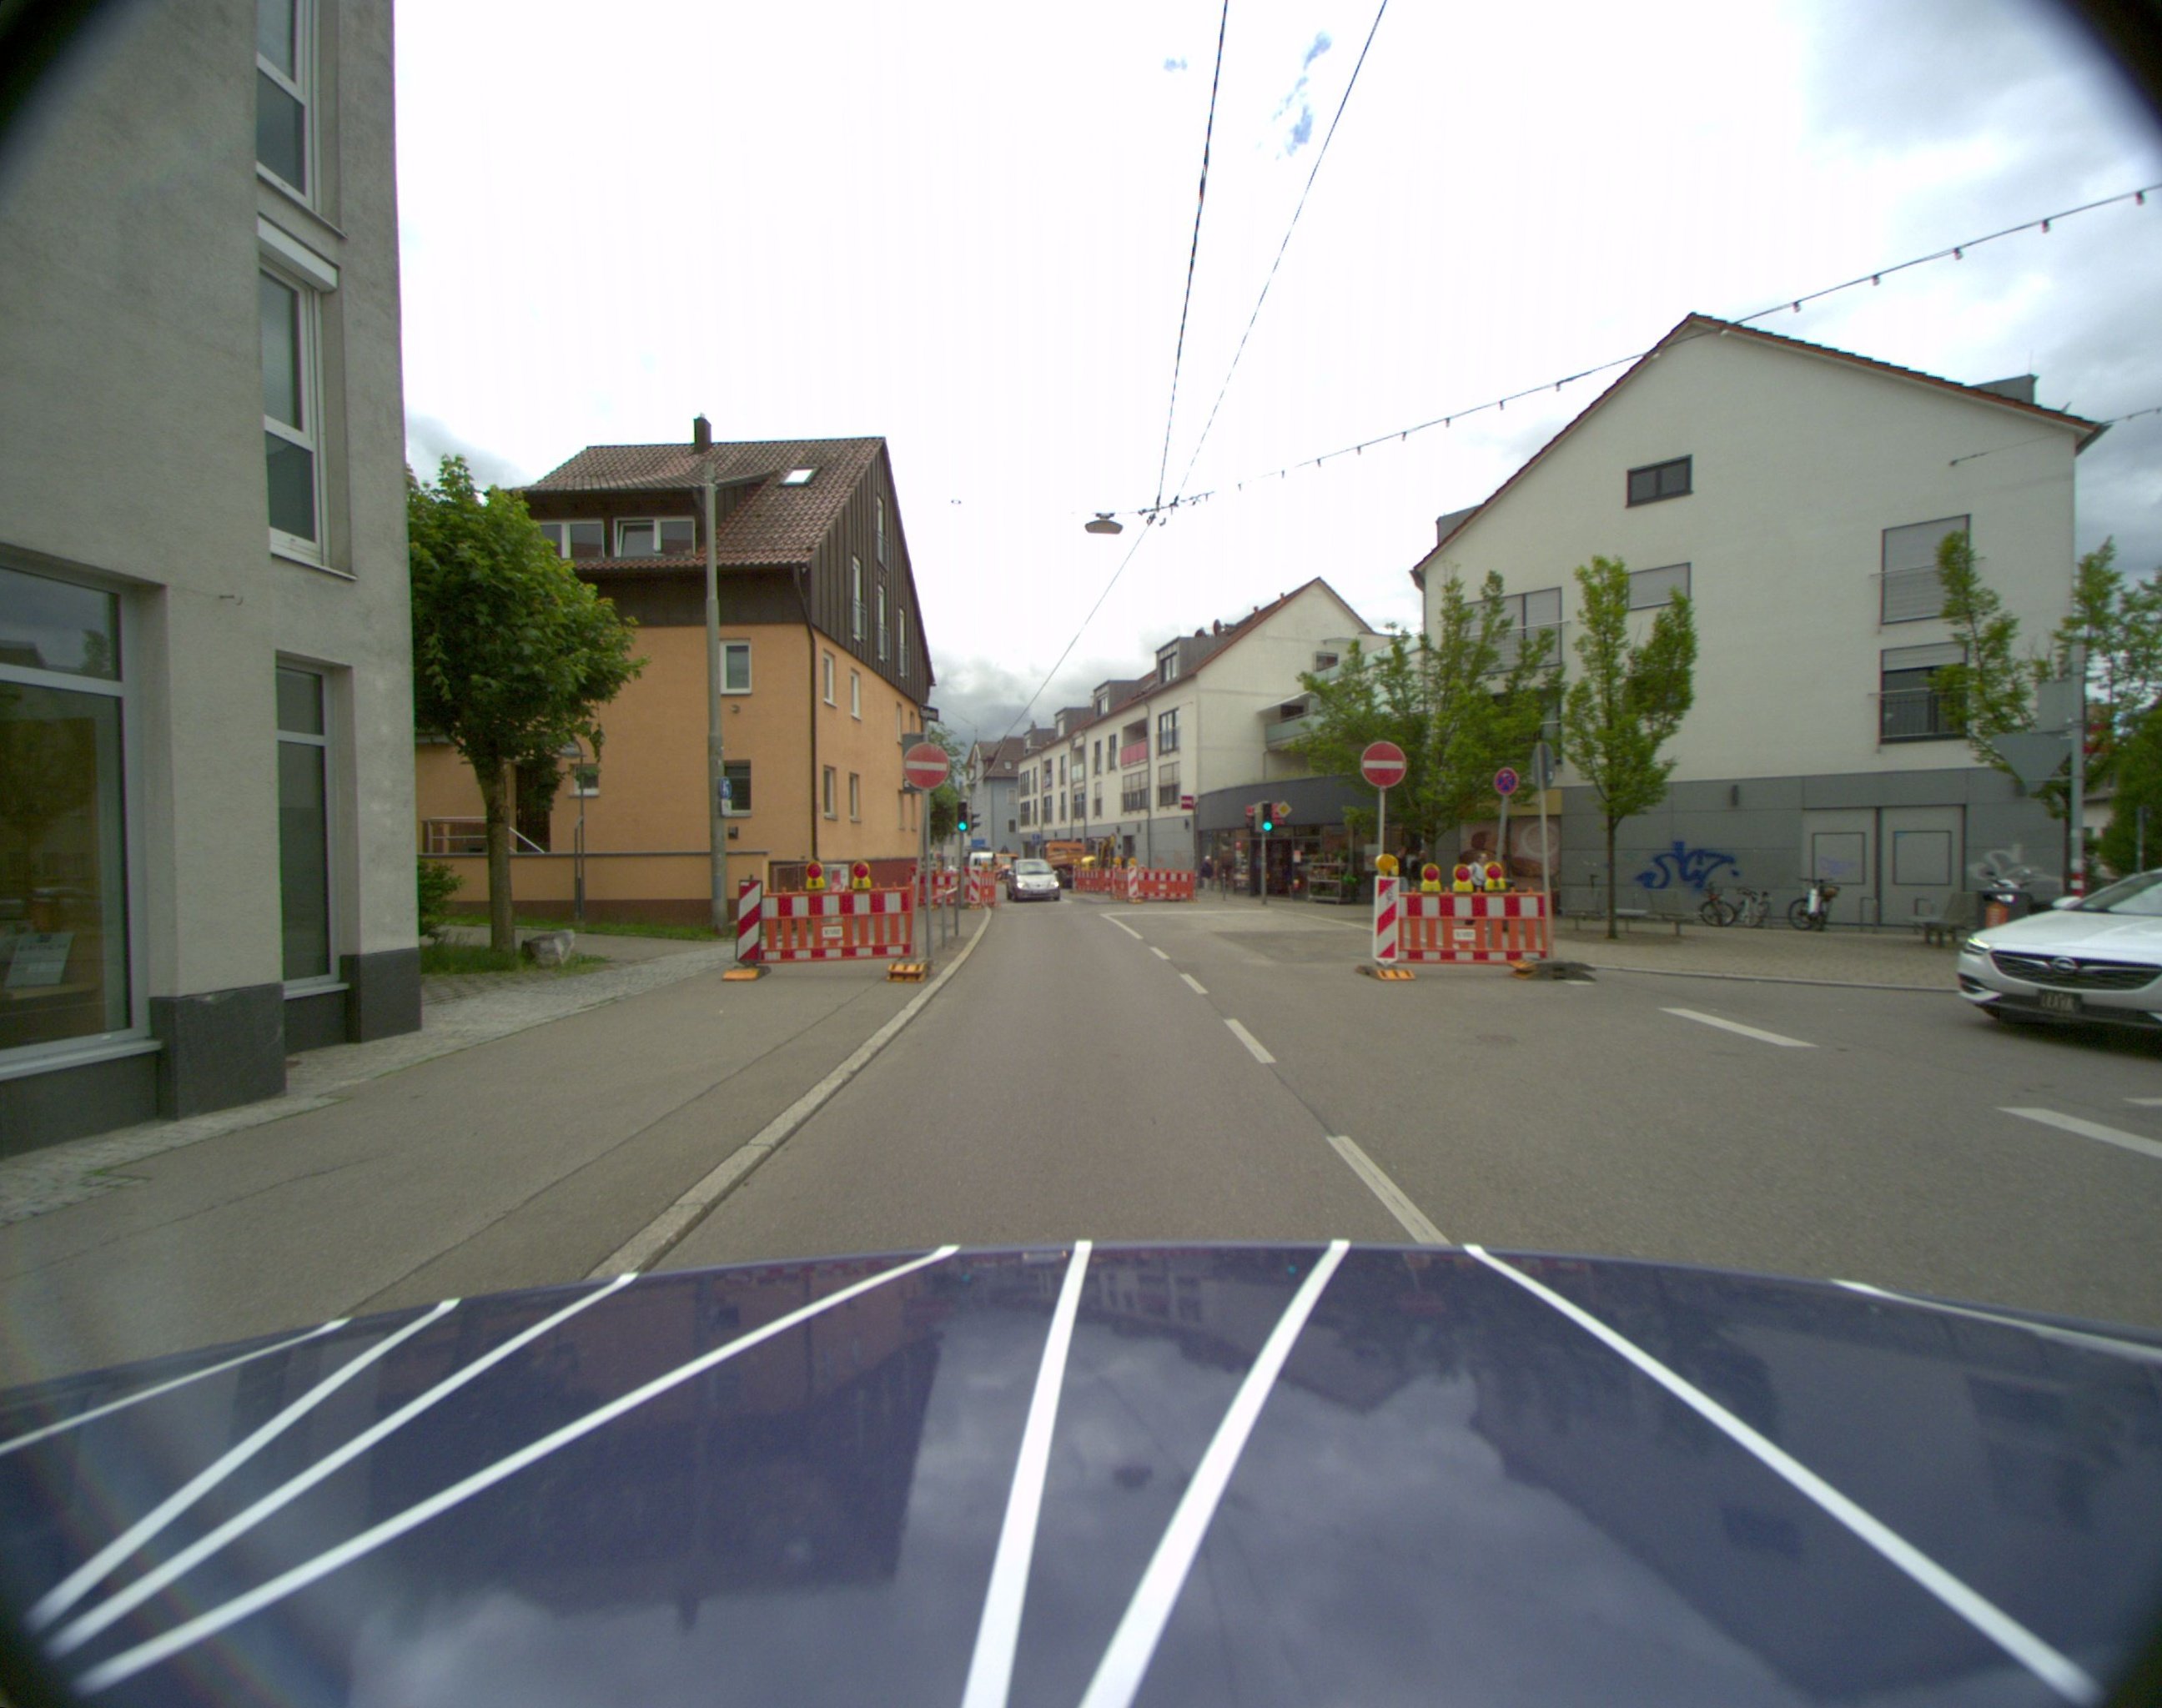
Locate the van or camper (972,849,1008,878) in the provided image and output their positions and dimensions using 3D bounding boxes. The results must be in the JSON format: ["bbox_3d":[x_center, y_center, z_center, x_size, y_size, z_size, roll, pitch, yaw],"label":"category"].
[{"bbox_3d":[-8.645,0.923,71.583,2.328,2.591,6.199,0,-1,-17],"label":"van or camper"}]

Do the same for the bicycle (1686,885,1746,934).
[{"bbox_3d":[14.522,1.245,17.438,0.749,1.040,2.156,0,-2,32],"label":"bicycle"}]

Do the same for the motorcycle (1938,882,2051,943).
[{"bbox_3d":[18.503,1.148,15.460,0.801,1.098,1.959,0,0,29],"label":"motorcycle"}]

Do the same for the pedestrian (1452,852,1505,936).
[{"bbox_3d":[7.768,0.761,14.887,0.682,1.583,0.880,0,0,10],"label":"pedestrian"}]

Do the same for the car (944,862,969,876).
[{"bbox_3d":[-13.421,1.619,81.775,1.805,1.403,3.993,0,-1,-22],"label":"car"}]

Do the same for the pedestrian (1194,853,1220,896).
[{"bbox_3d":[5.048,0.802,30.503,0.835,1.702,0.815,0,0,-9],"label":"pedestrian"}]

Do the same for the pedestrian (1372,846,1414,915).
[{"bbox_3d":[8.800,0.731,21.425,0.818,1.914,0.782,-1,0,-37],"label":"pedestrian"}]

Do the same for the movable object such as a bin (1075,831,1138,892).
[{"bbox_3d":[1.145,0.303,36.250,1.846,2.747,4.499,0,1,-14],"label":"movable object such as a bin"}]

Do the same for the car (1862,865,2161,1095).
[{"bbox_3d":[9.733,0.859,6.173,4.918,1.468,2.248,-1,0,-8],"label":"car"}]

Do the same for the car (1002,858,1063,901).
[{"bbox_3d":[-1.984,0.963,29.696,1.860,1.547,4.349,0,-1,-11],"label":"car"}]

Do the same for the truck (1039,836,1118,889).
[{"bbox_3d":[-0.307,0.467,42.526,2.742,2.708,6.839,0,-1,-15],"label":"truck"}]

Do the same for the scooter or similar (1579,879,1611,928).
[{"bbox_3d":[12.816,1.203,18.969,0.596,1.116,1.536,0,0,32],"label":"scooter or similar"}]

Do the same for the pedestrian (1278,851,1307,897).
[{"bbox_3d":[8.469,0.791,30.416,0.789,1.833,0.753,-1,0,-22],"label":"pedestrian"}]

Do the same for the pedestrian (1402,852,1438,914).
[{"bbox_3d":[9.882,0.830,22.159,0.695,1.780,0.716,-1,0,-41],"label":"pedestrian"}]

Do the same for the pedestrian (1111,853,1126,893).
[{"bbox_3d":[1.644,0.812,33.204,0.539,1.733,0.443,0,0,-11],"label":"pedestrian"}]

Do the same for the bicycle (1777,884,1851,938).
[{"bbox_3d":[15.893,1.194,16.527,0.809,1.067,1.965,0,-1,34],"label":"bicycle"}]

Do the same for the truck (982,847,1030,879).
[{"bbox_3d":[-6.147,0.781,61.433,2.423,2.451,6.298,0,-1,-19],"label":"truck"}]
